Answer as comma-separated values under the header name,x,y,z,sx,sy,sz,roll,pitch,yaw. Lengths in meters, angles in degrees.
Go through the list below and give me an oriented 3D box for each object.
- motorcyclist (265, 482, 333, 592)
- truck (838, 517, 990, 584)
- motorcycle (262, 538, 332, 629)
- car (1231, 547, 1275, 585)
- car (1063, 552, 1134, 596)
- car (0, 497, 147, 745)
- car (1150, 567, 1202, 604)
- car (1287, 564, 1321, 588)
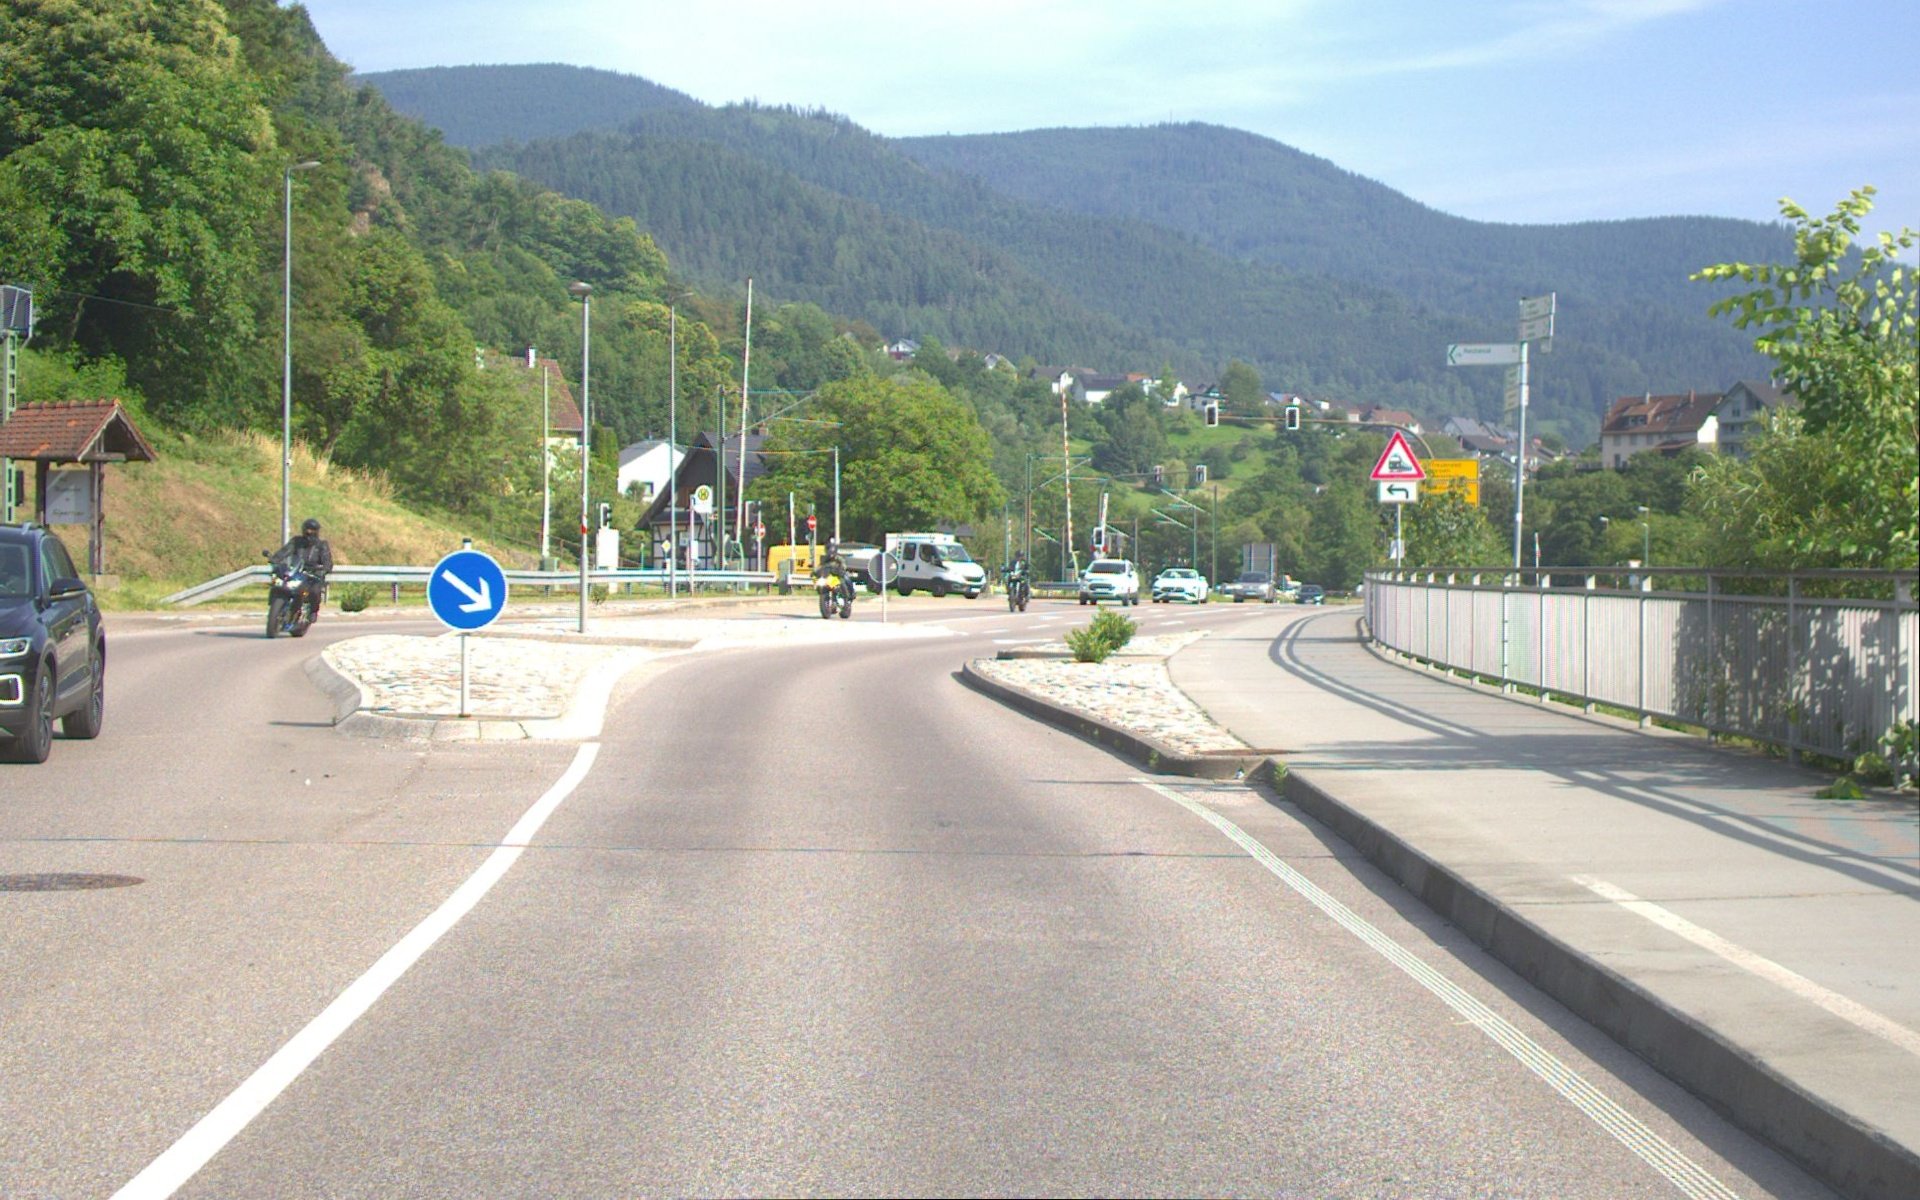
name,x,y,z,sx,sy,sz,roll,pitch,yaw
motorcyclist,-9.230,-0.883,47.996,0.905,1.513,0.847,0,2,-12
truck,-1.781,-1.885,130.894,5.999,2.258,1.995,4,2,43
motorcycle,-9.253,-0.245,47.953,0.894,1.179,2.306,1,2,-12
car,14.716,-1.682,172.611,1.759,1.516,4.201,1,-4,10
car,4.984,-0.943,123.334,1.765,1.555,3.998,1,1,14
car,-6.666,0.067,23.024,1.774,1.511,4.273,0,1,-5
car,8.814,-0.617,139.994,1.782,1.395,4.826,2,1,7
car,20.630,-1.433,206.148,1.773,1.412,3.784,-1,1,10
